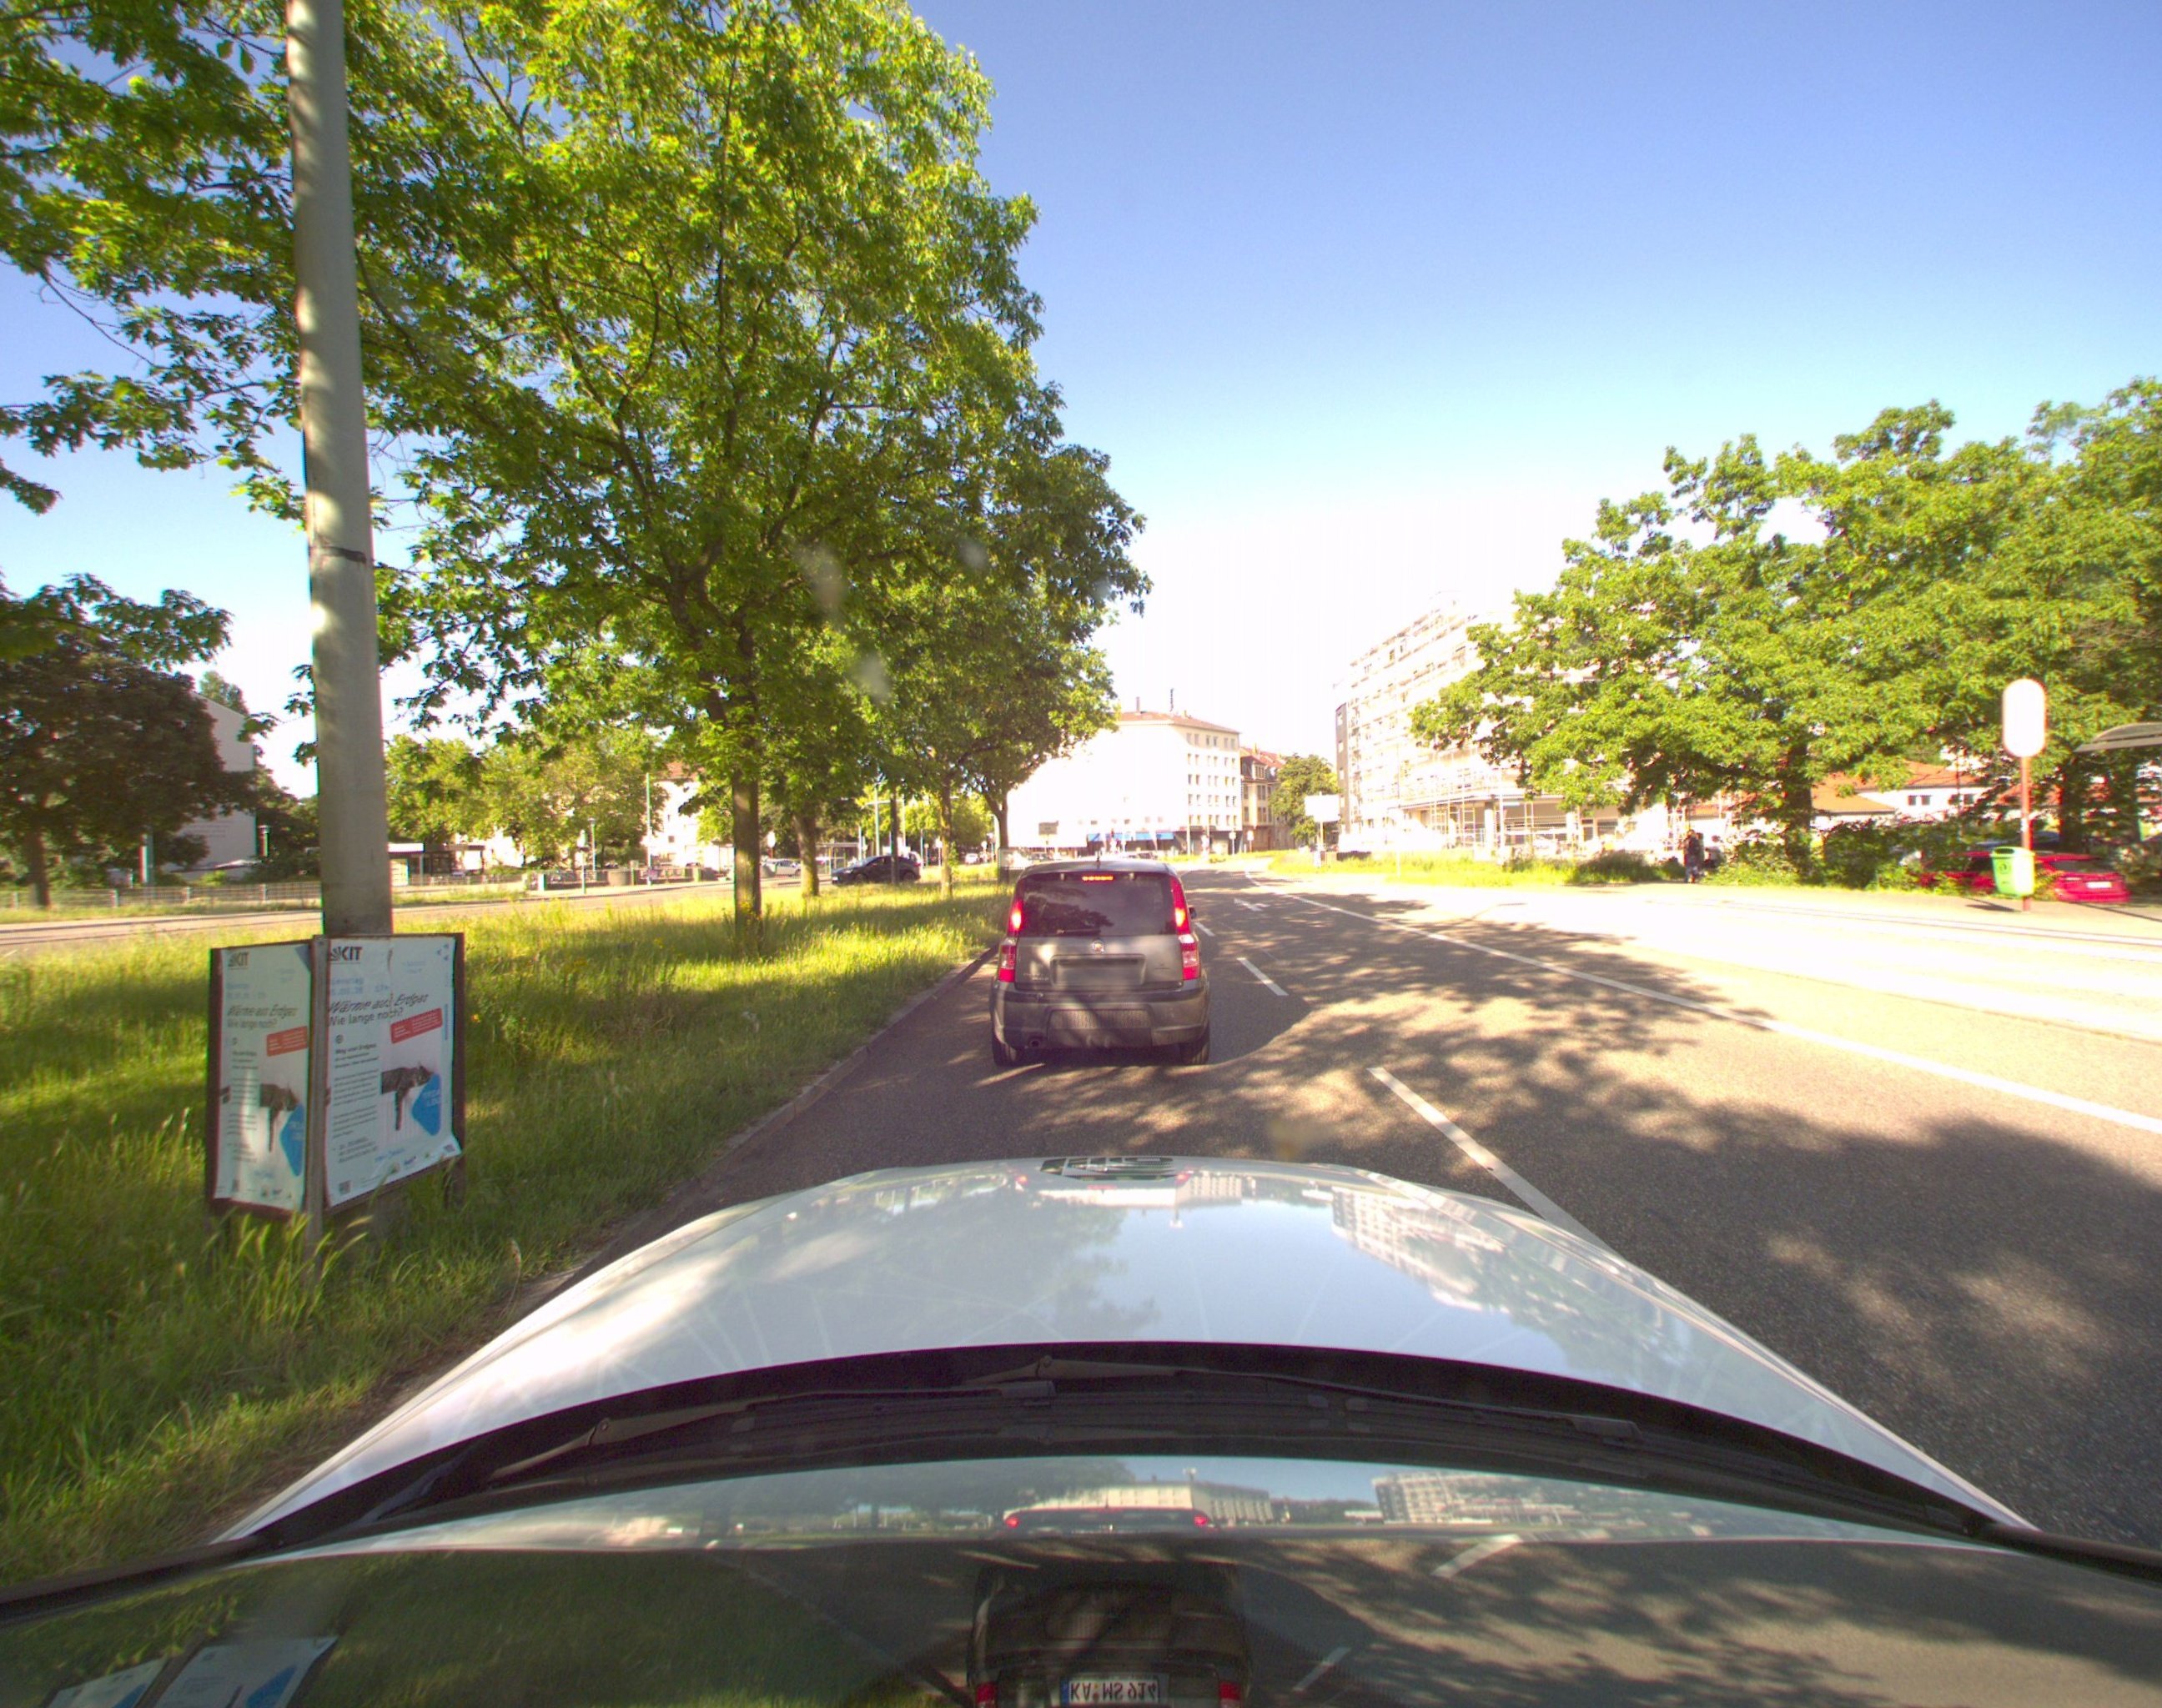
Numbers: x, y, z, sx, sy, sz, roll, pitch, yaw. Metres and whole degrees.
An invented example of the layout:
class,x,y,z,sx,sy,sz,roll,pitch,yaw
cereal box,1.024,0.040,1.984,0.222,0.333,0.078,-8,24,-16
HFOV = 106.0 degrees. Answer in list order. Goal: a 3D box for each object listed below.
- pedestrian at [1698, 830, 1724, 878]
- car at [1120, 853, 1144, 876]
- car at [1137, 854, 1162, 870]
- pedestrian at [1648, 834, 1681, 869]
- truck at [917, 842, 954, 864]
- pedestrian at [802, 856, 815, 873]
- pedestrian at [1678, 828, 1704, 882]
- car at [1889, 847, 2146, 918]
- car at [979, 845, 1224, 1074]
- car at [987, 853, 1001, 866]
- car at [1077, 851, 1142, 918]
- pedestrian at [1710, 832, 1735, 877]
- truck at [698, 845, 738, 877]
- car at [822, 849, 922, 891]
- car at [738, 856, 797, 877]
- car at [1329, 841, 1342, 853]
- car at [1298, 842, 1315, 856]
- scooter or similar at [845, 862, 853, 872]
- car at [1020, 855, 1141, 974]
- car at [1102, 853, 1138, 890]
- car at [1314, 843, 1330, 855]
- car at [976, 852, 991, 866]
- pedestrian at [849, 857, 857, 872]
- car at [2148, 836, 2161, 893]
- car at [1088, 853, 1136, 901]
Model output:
class,x,y,z,sx,sy,sz,roll,pitch,yaw
pedestrian,19.175,0.000,24.792,0.516,1.447,0.595,-2,0,28
car,3.098,0.619,49.681,1.351,1.281,2.877,-2,0,2
car,4.868,0.573,57.719,1.133,1.064,2.735,-2,0,19
pedestrian,28.236,-0.113,39.409,0.893,1.653,0.979,-2,0,-26
truck,-22.999,-0.149,128.576,5.425,3.168,2.358,-2,0,30
pedestrian,-26.297,1.019,78.505,0.910,1.607,0.802,-2,0,41
pedestrian,18.537,0.015,24.754,0.516,1.612,0.595,-2,0,28
car,21.987,0.600,19.377,1.747,1.486,3.743,-2,0,-2
car,0.204,0.703,7.538,1.622,1.508,4.002,-2,0,2
car,-14.252,0.887,133.875,1.988,2.013,3.997,-2,0,-2
car,0.725,0.698,20.751,1.458,1.508,3.506,-2,1,2
pedestrian,20.899,0.015,26.550,0.516,1.447,0.595,-2,0,28
truck,-33.071,0.627,74.209,2.012,2.805,3.951,-2,0,-44
car,-10.354,0.744,40.552,4.484,1.646,1.811,-5,7,-40
car,-27.314,1.064,71.072,1.974,1.684,4.348,-2,0,40
car,34.524,-0.968,110.615,1.514,1.469,3.304,-2,0,20
car,24.920,-0.539,89.999,1.669,1.449,3.588,-2,0,18
scooter or similar,-21.709,1.178,76.083,0.416,0.927,0.537,-2,0,28
car,0.049,0.748,11.766,1.458,1.401,3.395,-2,0,2
car,1.603,0.692,33.970,1.351,1.449,3.267,-2,0,2
car,27.632,-0.590,93.428,1.514,1.314,3.304,-2,0,20
car,-14.834,0.703,124.165,1.988,2.013,3.997,-2,0,-2
pedestrian,-21.443,0.950,76.601,0.411,1.391,0.630,-2,0,28
car,29.863,0.257,20.179,1.911,1.486,3.725,-2,0,-17
car,1.030,0.727,27.380,1.458,1.424,3.383,-2,1,2
